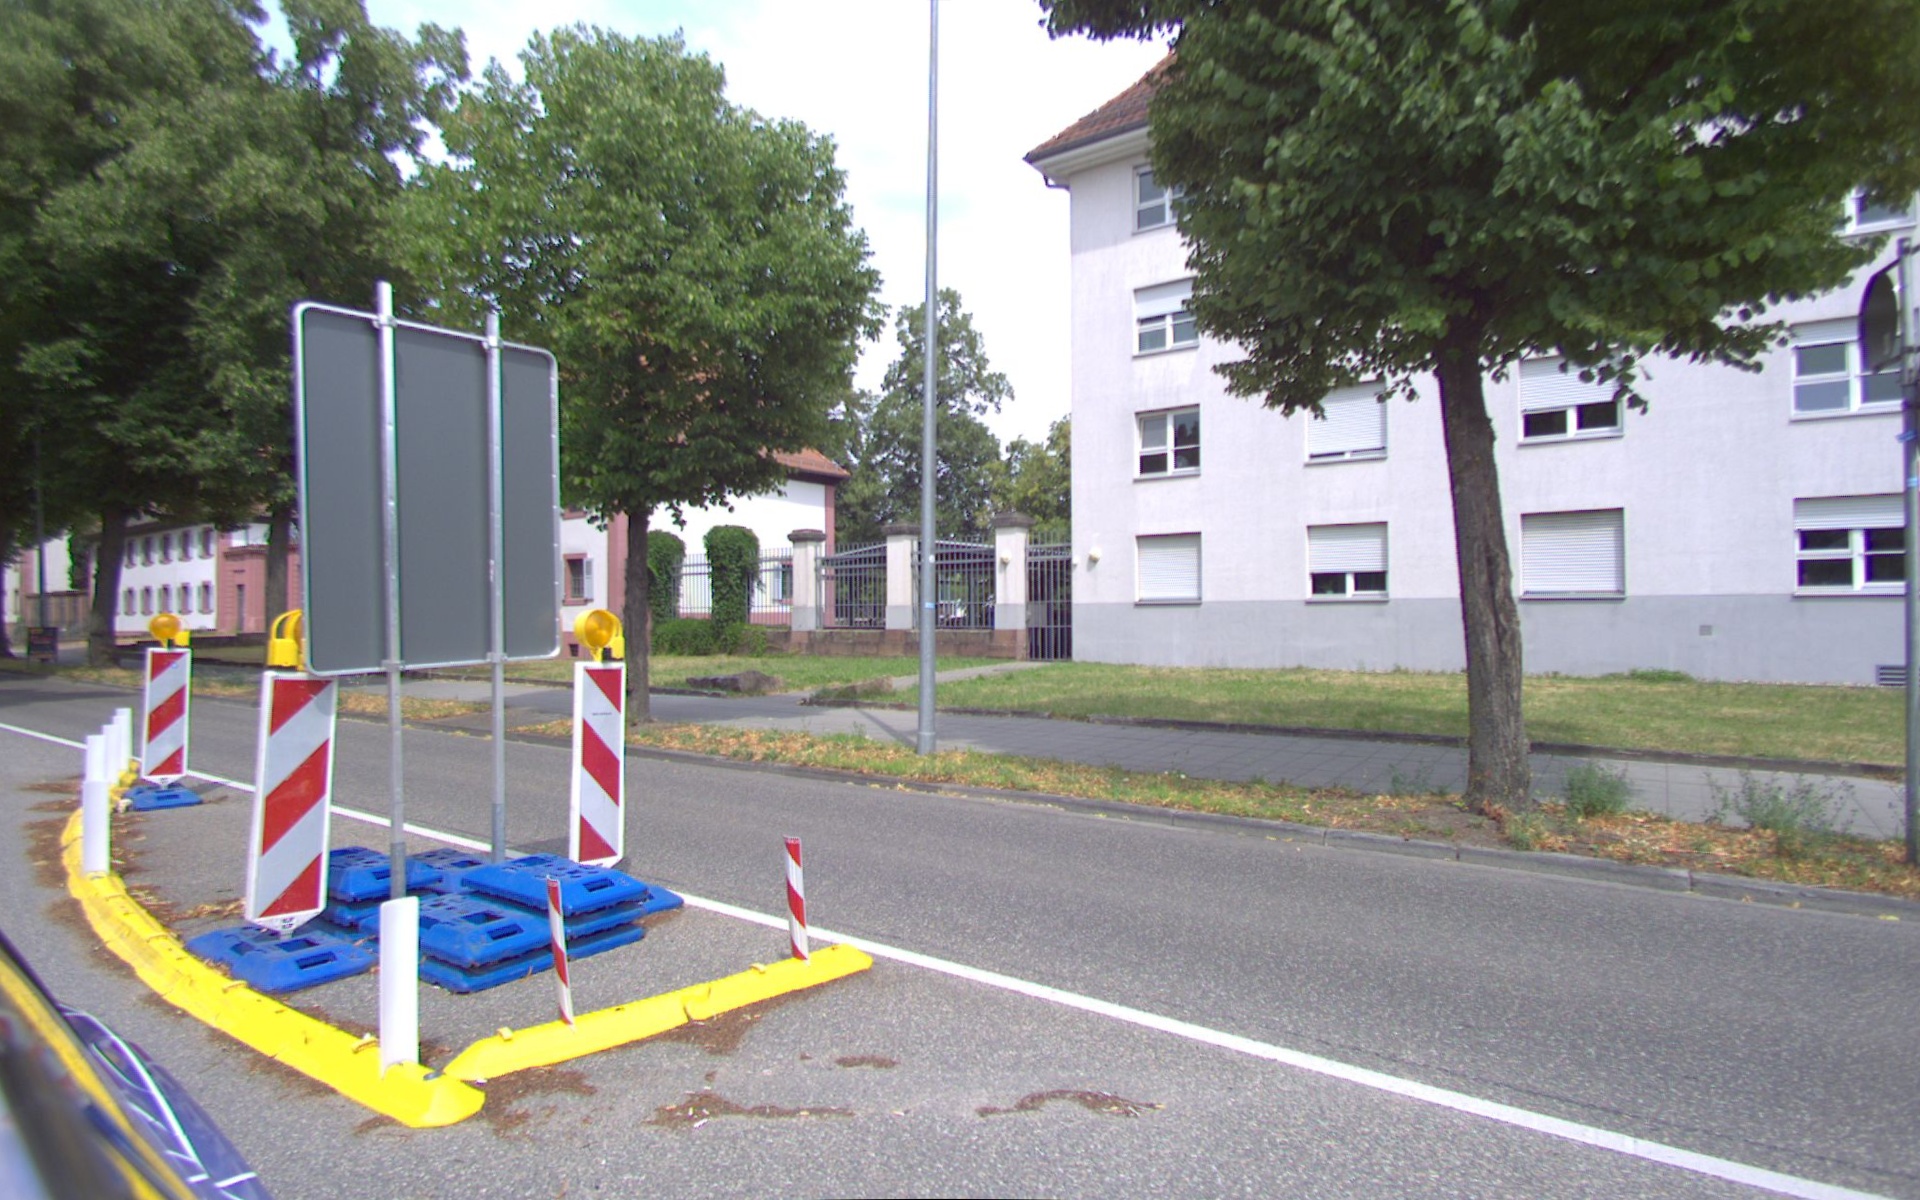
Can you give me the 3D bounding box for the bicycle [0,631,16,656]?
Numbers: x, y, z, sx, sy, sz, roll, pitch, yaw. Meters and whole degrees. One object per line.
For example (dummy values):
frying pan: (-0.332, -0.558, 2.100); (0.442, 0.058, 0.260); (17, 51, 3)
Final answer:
bicycle: (-44.748, 2.032, 47.107); (2.220, 1.103, 0.716); (-3, 2, 36)
